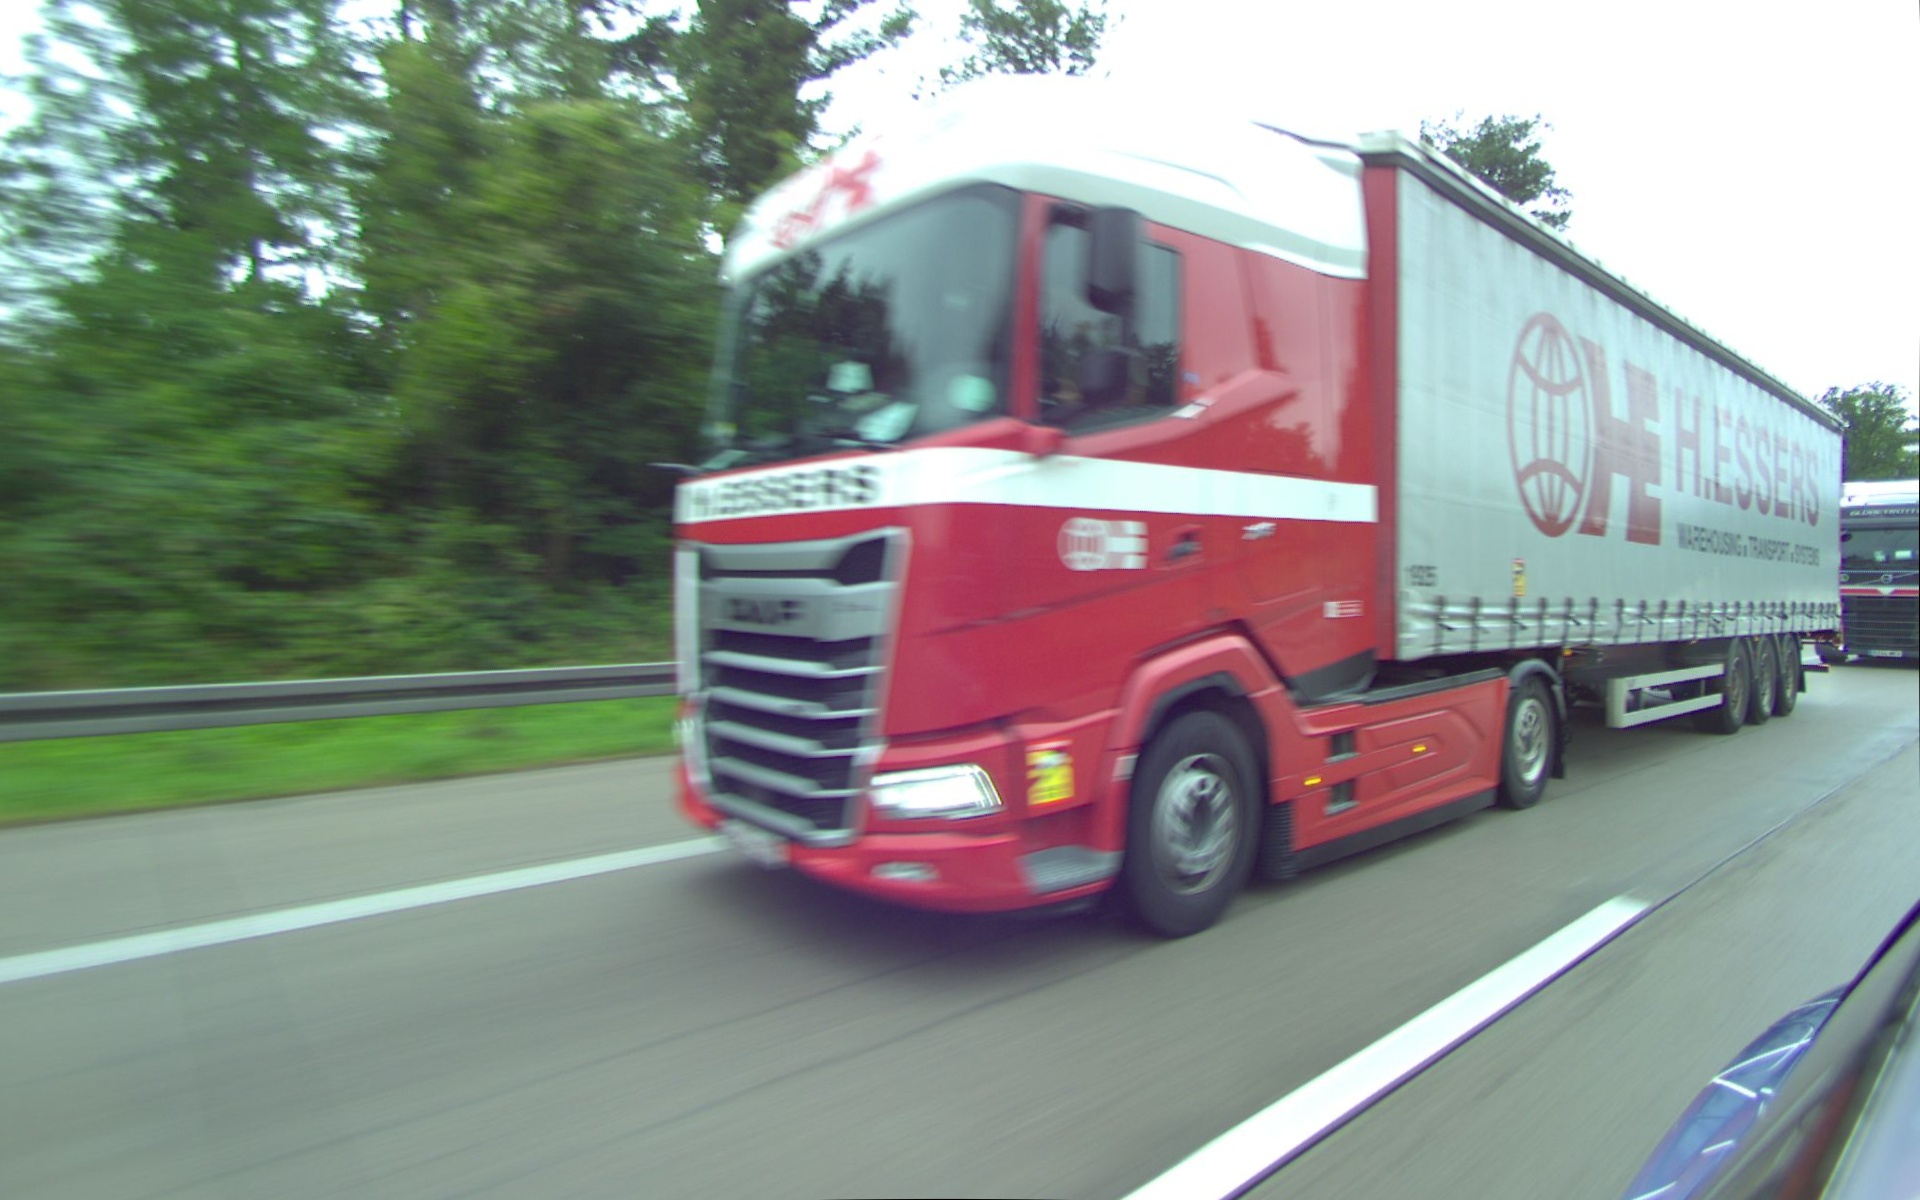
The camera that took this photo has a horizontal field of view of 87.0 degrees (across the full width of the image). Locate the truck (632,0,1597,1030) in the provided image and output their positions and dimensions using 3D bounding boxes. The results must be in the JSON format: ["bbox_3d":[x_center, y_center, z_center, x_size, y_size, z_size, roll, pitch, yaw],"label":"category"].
[{"bbox_3d":[1.432,-0.619,6.115,6.051,4.004,2.379,1,-1,-40],"label":"truck"}]

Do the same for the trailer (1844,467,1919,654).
[{"bbox_3d":[26.623,-0.906,26.564,13.433,4.155,2.741,0,0,-38],"label":"trailer"}]

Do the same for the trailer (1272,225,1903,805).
[{"bbox_3d":[8.242,-0.616,11.813,12.295,4.003,2.376,0,1,-39],"label":"trailer"}]

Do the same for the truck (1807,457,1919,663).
[{"bbox_3d":[21.408,-0.831,22.524,5.859,4.155,2.805,0,0,-38],"label":"truck"}]
